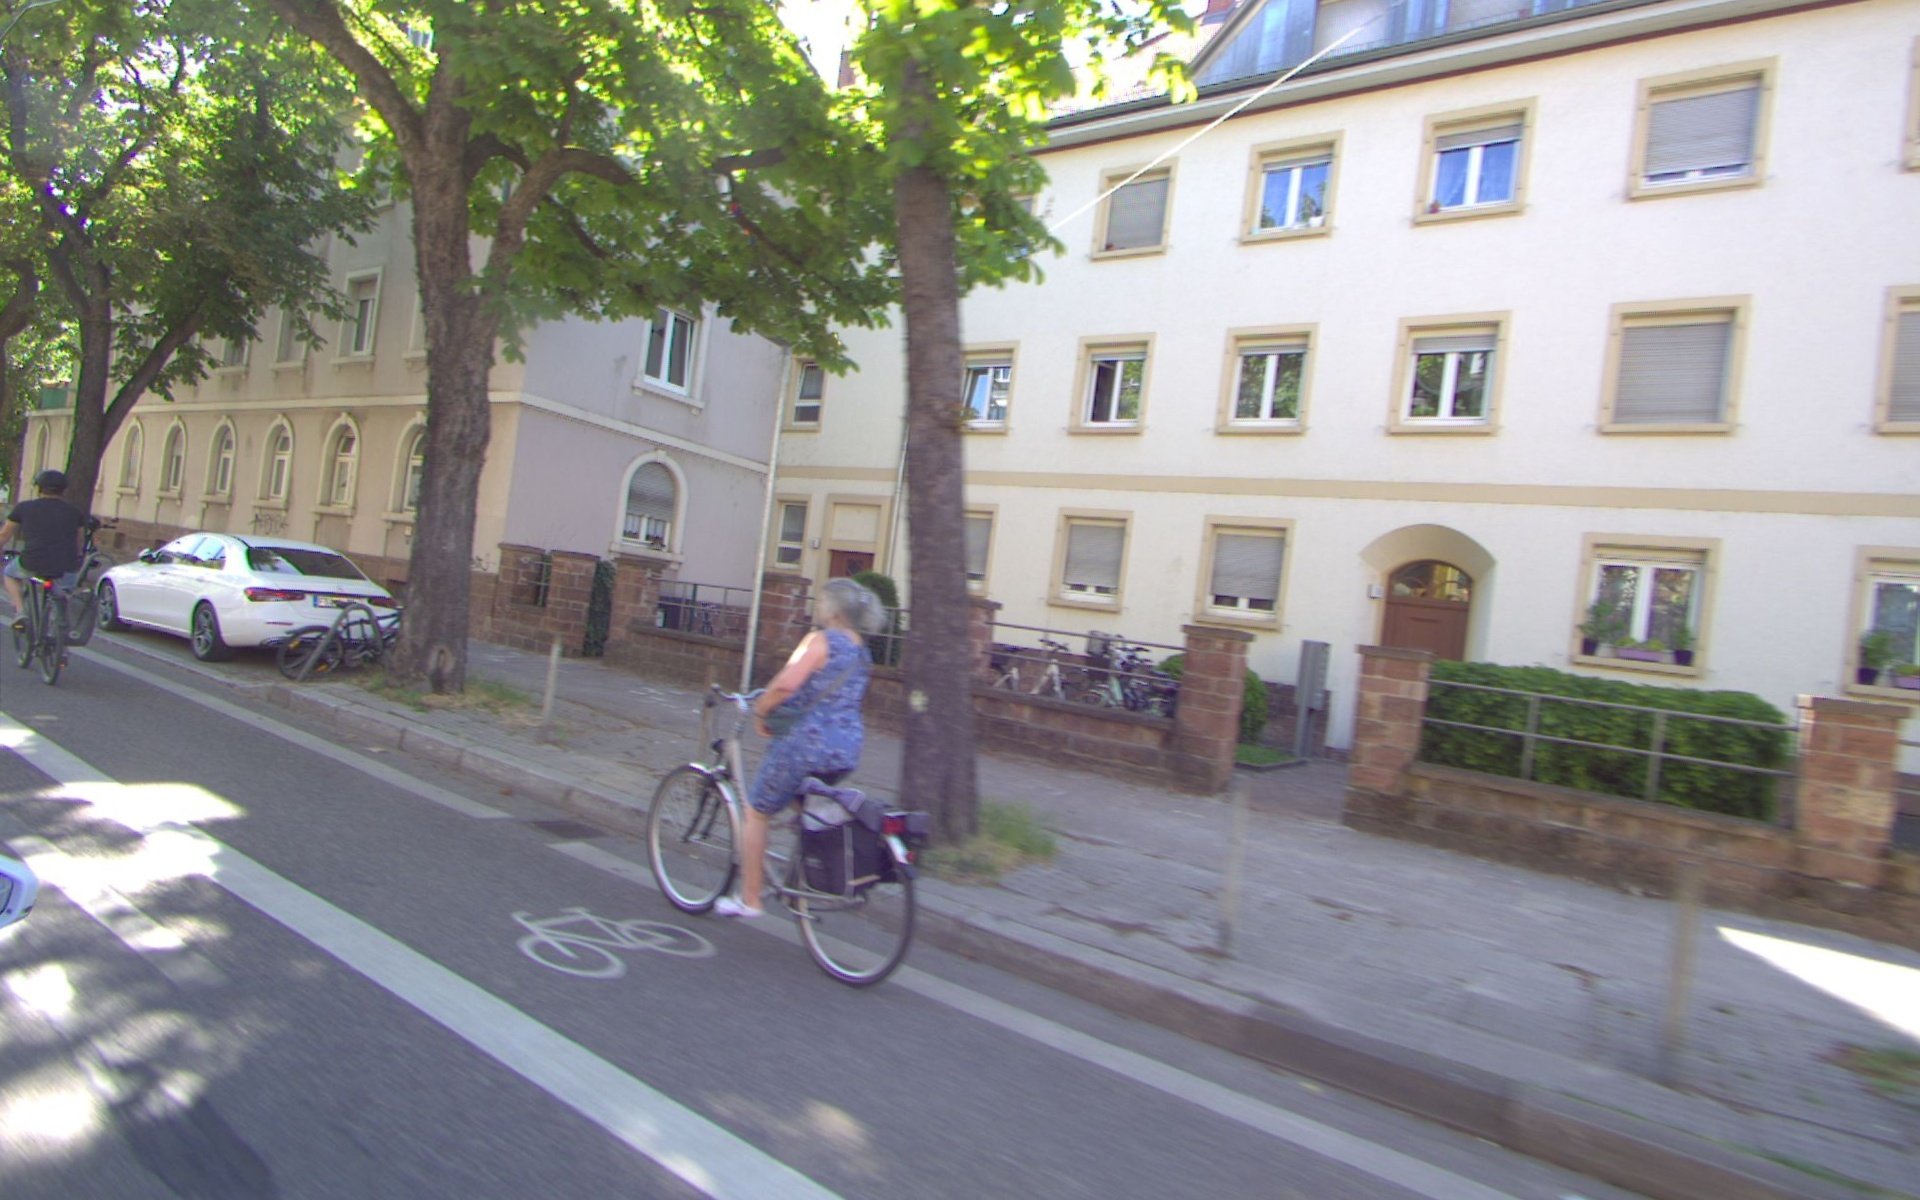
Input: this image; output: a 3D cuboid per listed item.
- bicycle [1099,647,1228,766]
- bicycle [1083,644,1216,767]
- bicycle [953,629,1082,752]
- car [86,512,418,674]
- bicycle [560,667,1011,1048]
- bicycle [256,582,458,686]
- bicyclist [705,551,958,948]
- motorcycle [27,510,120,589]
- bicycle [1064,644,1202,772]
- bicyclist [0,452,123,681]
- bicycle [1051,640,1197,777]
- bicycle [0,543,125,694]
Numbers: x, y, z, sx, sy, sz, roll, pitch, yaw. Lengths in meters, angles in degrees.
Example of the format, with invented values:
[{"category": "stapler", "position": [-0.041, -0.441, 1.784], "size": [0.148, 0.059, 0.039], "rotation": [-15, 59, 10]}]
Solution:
[{"category": "bicycle", "position": [2.484, 1.287, 12.333], "size": [1.351, 1.237, 0.435], "rotation": [7, -1, 35]}, {"category": "bicycle", "position": [2.229, 1.228, 11.924], "size": [1.351, 1.237, 0.435], "rotation": [7, -1, 35]}, {"category": "bicycle", "position": [0.664, 1.054, 11.859], "size": [1.351, 1.237, 0.435], "rotation": [7, -1, 35]}, {"category": "car", "position": [-8.976, -0.127, 12.630], "size": [4.587, 1.453, 1.631], "rotation": [7, 0, 31]}, {"category": "bicycle", "position": [-0.823, 1.002, 4.442], "size": [1.887, 1.125, 0.693], "rotation": [7, -2, 35]}, {"category": "bicycle", "position": [-6.702, 0.401, 11.274], "size": [0.610, 1.032, 1.793], "rotation": [7, 1, 34]}, {"category": "bicyclist", "position": [-0.535, 0.598, 4.280], "size": [0.606, 1.484, 0.636], "rotation": [7, -2, 34]}, {"category": "motorcycle", "position": [-16.721, -0.965, 18.951], "size": [2.150, 1.258, 0.710], "rotation": [7, 0, 34]}, {"category": "bicycle", "position": [1.964, 1.214, 11.501], "size": [1.351, 1.237, 0.435], "rotation": [7, -1, 35]}, {"category": "bicyclist", "position": [-8.117, -0.291, 8.857], "size": [0.823, 1.869, 0.728], "rotation": [7, -2, 34]}, {"category": "bicycle", "position": [1.744, 1.145, 10.781], "size": [1.351, 1.237, 0.435], "rotation": [7, -1, 35]}, {"category": "bicycle", "position": [-8.183, 0.129, 8.893], "size": [1.691, 1.125, 0.693], "rotation": [7, -2, 35]}]
